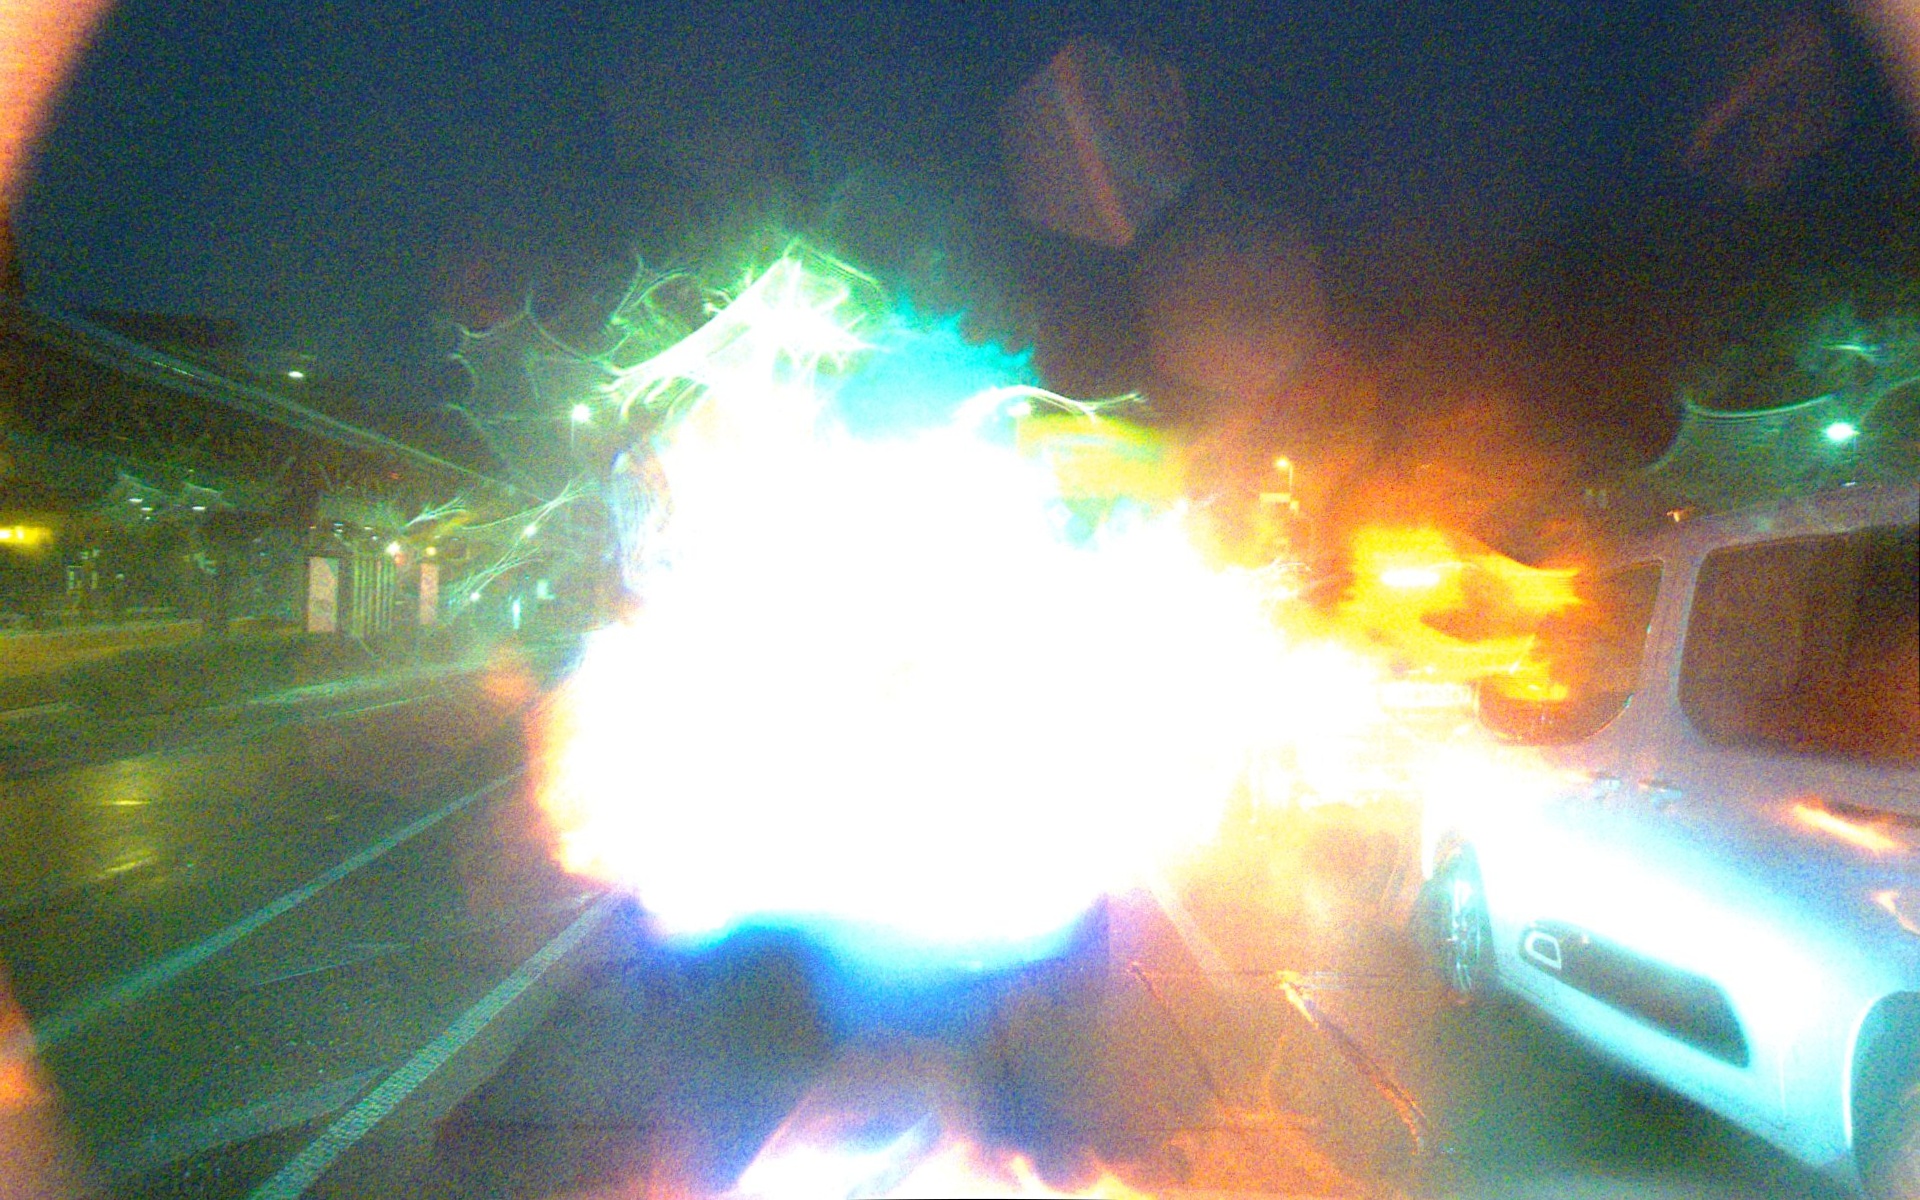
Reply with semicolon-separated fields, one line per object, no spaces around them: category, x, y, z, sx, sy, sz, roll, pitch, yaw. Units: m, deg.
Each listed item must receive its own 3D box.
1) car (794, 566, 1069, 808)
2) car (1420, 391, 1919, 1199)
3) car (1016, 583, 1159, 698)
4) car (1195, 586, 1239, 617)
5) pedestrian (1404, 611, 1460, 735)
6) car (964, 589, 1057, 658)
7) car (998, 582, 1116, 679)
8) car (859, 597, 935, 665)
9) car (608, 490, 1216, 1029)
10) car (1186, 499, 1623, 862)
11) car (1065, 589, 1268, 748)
car;-0.235;0.641;13.943;1.953;1.713;3.999;1;0;-1
car;2.762;0.561;4.363;1.814;1.897;4.339;1;0;-1
car;1.994;0.623;26.962;1.953;1.699;3.999;1;0;-1
car;14.606;0.112;94.277;1.827;1.675;3.962;-2;0;0
pedestrian;6.707;1.030;23.523;0.610;1.731;0.540;1;-1;-3
car;1.188;0.547;40.426;1.821;1.571;3.926;1;0;-5
car;1.889;0.589;33.545;1.954;1.804;3.998;1;0;-3
car;-1.877;0.871;48.110;1.955;1.856;3.995;1;0;-6
car;-0.232;0.542;7.681;1.974;1.747;4.449;1;0;-2
car;2.870;0.478;11.639;1.929;2.082;3.999;1;0;-1
car;2.445;0.783;20.578;1.953;1.748;3.999;1;0;-1
